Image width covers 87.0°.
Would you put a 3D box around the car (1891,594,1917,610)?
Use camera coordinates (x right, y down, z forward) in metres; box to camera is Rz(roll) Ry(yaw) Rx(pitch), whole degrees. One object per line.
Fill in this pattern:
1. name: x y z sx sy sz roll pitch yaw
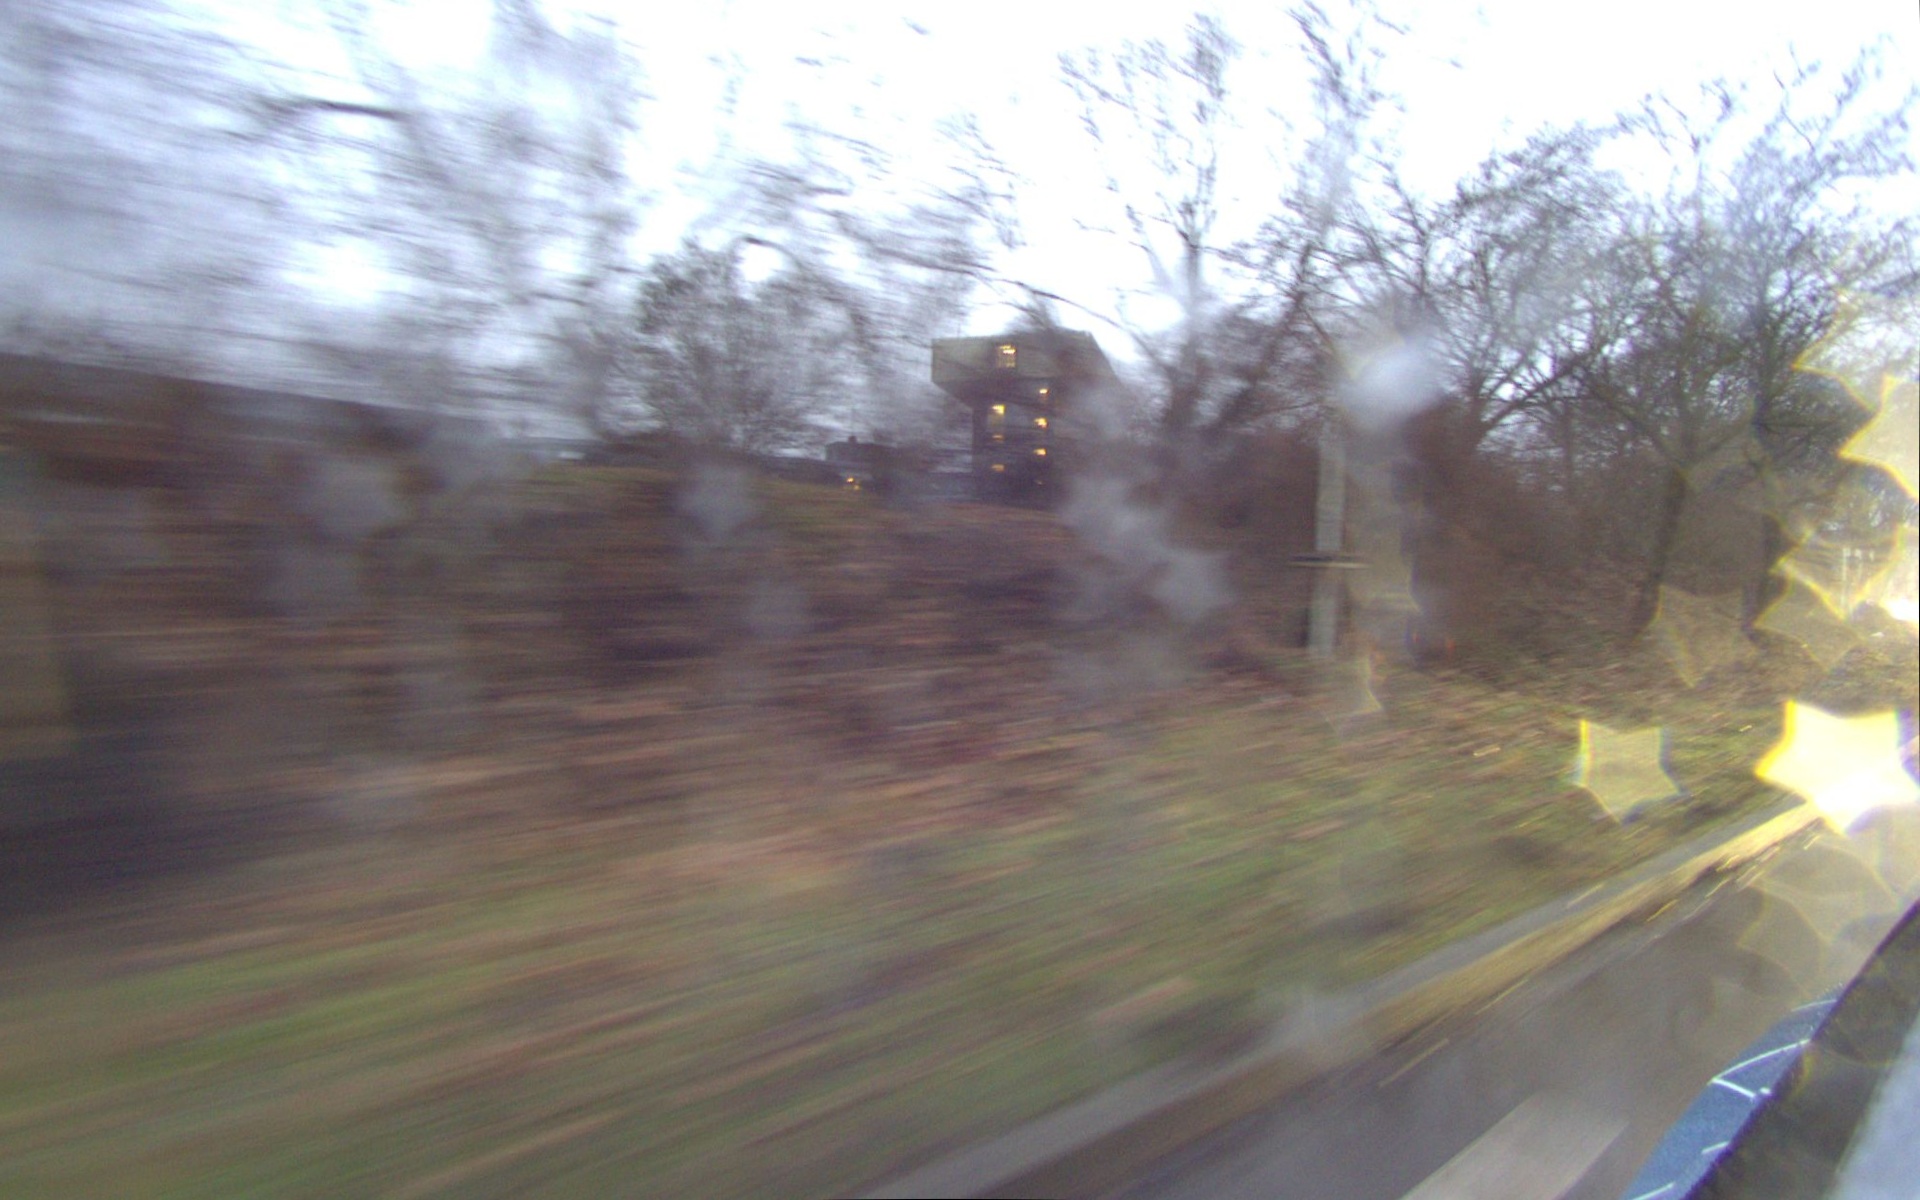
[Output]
1. car: 104.439 0.215 112.014 1.947 1.619 4.062 2 1 42
